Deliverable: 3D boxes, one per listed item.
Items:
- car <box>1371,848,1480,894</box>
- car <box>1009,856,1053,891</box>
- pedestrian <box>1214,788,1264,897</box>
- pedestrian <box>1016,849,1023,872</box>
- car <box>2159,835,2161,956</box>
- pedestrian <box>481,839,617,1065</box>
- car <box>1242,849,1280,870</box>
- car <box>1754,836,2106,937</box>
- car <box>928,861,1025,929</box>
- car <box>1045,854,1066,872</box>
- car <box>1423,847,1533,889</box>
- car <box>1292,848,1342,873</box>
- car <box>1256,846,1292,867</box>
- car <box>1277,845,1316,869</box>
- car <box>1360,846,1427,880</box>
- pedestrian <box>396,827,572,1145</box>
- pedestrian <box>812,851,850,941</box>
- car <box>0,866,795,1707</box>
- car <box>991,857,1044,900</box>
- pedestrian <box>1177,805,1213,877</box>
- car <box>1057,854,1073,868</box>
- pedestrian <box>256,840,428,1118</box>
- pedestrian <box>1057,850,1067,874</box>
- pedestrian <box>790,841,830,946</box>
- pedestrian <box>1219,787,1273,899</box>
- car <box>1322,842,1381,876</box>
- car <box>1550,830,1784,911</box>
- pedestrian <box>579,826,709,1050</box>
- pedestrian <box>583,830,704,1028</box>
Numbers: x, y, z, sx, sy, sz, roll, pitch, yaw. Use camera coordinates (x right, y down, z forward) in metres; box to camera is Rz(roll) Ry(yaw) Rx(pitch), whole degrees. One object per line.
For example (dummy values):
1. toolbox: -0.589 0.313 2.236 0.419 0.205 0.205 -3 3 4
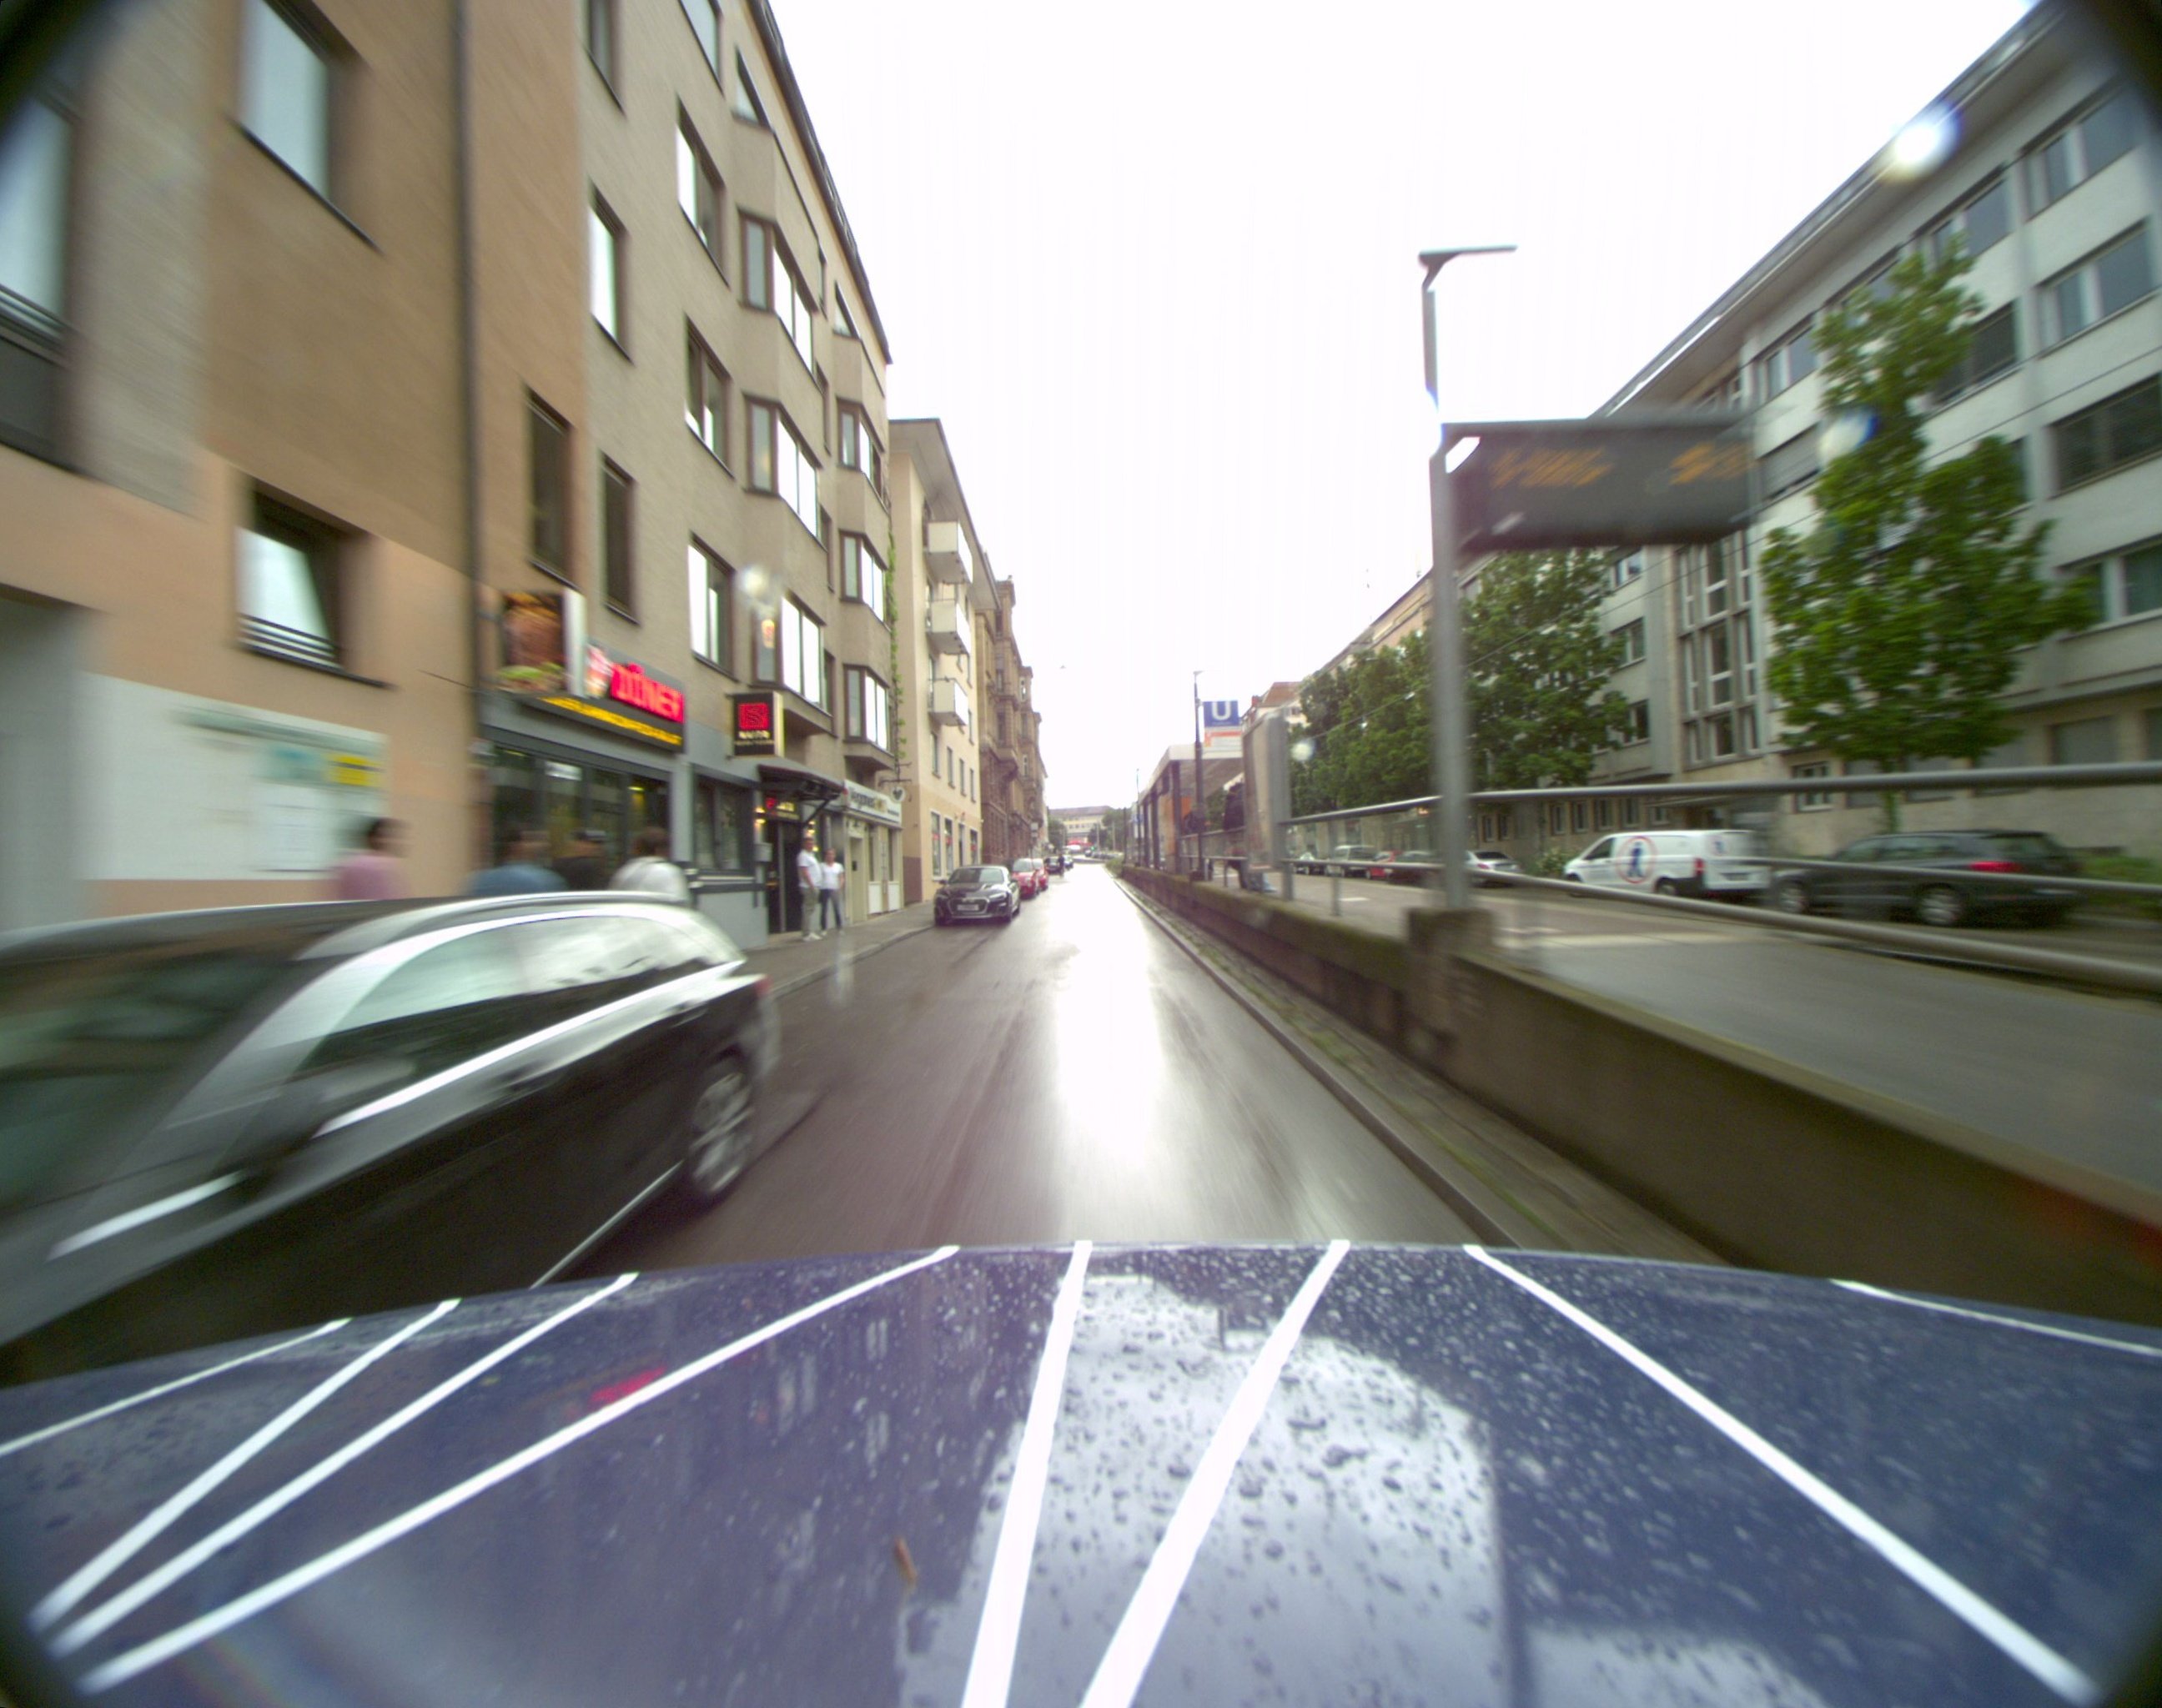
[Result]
1. car: 12.151 0.540 27.144 1.696 1.454 4.529 -1 1 -2
2. car: -2.278 0.864 35.231 1.720 1.454 3.444 -1 1 1
3. pedestrian: 2.396 -0.175 11.564 0.585 1.600 0.701 -1 1 -2
4. pedestrian: -4.458 0.471 55.316 0.489 1.635 0.630 -1 1 -3
5. car: 15.160 0.558 7.939 1.642 1.614 4.370 -1 1 1
6. pedestrian: -4.190 0.744 6.022 0.612 1.704 0.581 -1 1 2
7. car: 12.369 0.358 52.364 1.643 1.330 3.734 -1 1 -1
8. car: 15.131 0.483 13.995 1.642 1.527 4.370 -1 1 1
9. car: -2.582 0.976 19.746 1.911 1.454 4.245 -1 1 0
10. car: -2.044 0.734 62.637 1.628 1.343 3.829 -1 1 -1
11. car: 15.114 0.487 29.208 1.696 1.454 4.529 -1 1 -2
12. car: 14.961 0.367 48.427 1.643 1.432 4.729 -1 1 -1
13. car: 15.256 0.198 60.119 1.662 1.575 4.337 -1 1 -1
14. car: 15.153 0.184 53.675 1.642 1.529 4.022 -1 1 1
15. car: 15.293 0.394 37.370 1.643 1.530 3.803 -1 1 -1
16. pedestrian: -3.821 0.810 4.904 0.653 1.937 0.533 -1 1 2
17. pedestrian: -4.752 0.785 14.485 0.546 1.671 0.595 -1 1 -7
18. car: -2.578 0.915 1.938 1.911 1.606 4.413 -1 1 1
19. car: -2.363 0.888 29.037 1.649 1.454 3.413 -1 1 1
20. pedestrian: 2.712 -0.310 18.104 0.712 1.684 0.701 -1 1 -2
21. car: -1.695 0.721 80.032 1.588 1.343 3.977 -1 1 -1
22. pedestrian: -4.724 0.766 4.886 0.577 1.704 0.477 -1 1 2
23. pedestrian: -1.375 0.562 54.832 0.653 1.752 0.882 -1 1 -3
24. pedestrian: -4.872 0.698 13.670 0.530 1.848 0.556 -1 1 -7
25. pedestrian: 2.340 -0.154 10.855 0.585 1.548 0.701 -1 1 -2
26. car: 15.204 0.248 42.971 1.678 1.806 4.431 -1 1 -1
27. car: 15.138 0.355 20.137 1.912 1.834 5.255 -1 1 -3
28. pedestrian: -3.770 0.692 6.602 0.697 1.844 0.652 -1 1 2
29. pedestrian: -4.152 0.689 7.247 0.757 1.809 0.588 -1 1 2
